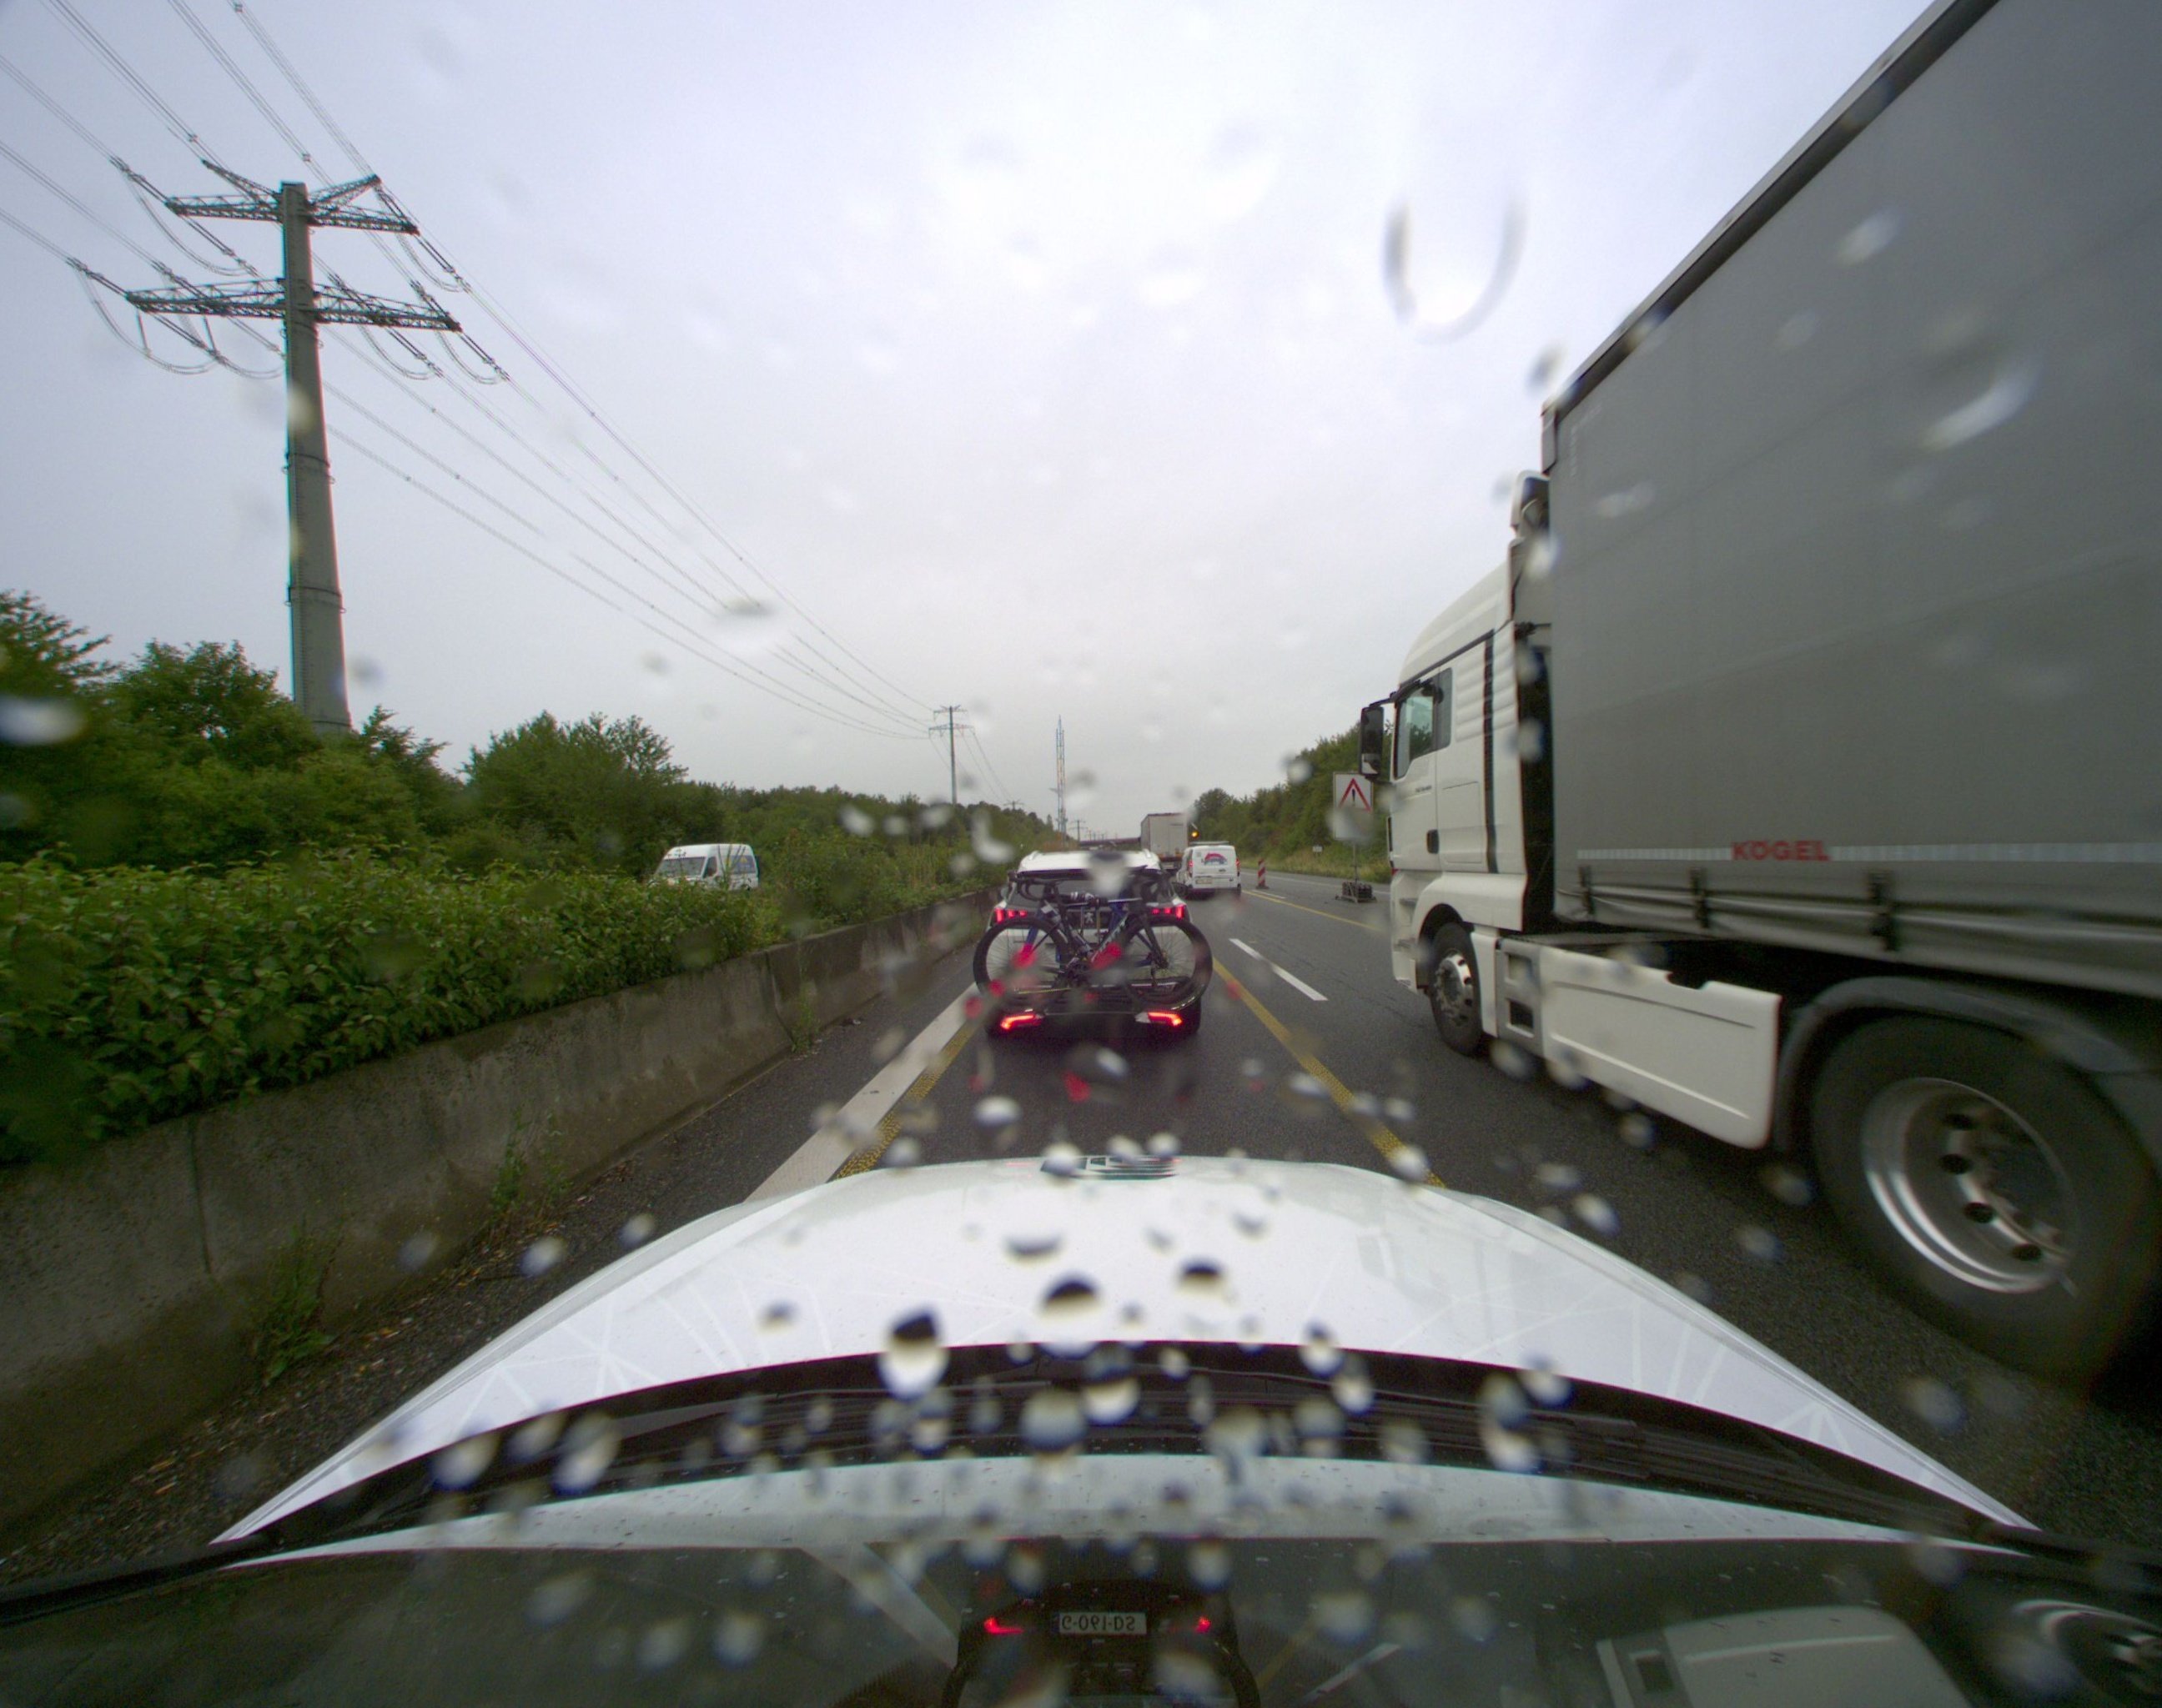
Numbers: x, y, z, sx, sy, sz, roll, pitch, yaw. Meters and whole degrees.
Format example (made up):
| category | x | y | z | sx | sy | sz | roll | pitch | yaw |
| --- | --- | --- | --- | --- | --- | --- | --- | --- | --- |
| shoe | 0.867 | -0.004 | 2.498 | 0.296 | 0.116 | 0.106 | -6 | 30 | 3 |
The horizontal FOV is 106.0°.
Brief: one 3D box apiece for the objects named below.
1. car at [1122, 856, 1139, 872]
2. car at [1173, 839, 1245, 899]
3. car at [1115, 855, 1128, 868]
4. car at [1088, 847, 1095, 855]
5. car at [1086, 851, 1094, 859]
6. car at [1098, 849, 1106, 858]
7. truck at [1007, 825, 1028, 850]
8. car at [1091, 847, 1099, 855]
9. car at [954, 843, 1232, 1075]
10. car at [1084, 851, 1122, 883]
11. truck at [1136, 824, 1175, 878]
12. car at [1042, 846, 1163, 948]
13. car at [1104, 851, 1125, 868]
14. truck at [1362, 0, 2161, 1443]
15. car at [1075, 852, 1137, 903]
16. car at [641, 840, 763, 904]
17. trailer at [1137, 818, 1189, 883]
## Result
| category | x | y | z | sx | sy | sz | roll | pitch | yaw |
| --- | --- | --- | --- | --- | --- | --- | --- | --- | --- |
| car | 6.623 | 1.295 | 108.386 | 2.102 | 1.973 | 4.002 | -1 | 1 | 2 |
| car | 4.267 | 0.478 | 27.847 | 1.822 | 1.839 | 4.657 | -1 | 0 | 2 |
| car | 6.939 | 1.237 | 138.573 | 2.140 | 1.973 | 4.002 | -1 | 1 | 2 |
| car | 2.845 | -0.893 | 220.263 | 1.924 | 1.973 | 4.002 | -1 | 1 | 2 |
| car | 2.629 | 0.283 | 243.061 | 2.249 | 2.424 | 4.002 | -1 | 1 | 2 |
| car | 4.878 | -0.179 | 188.685 | 1.924 | 1.973 | 4.002 | -1 | 1 | 2 |
| truck | -11.307 | -2.893 | 145.763 | 2.776 | 4.023 | 7.235 | -4 | 0 | 1 |
| car | 3.557 | -0.720 | 207.561 | 1.924 | 1.910 | 4.002 | -1 | 1 | 2 |
| car | 0.154 | 0.707 | 7.860 | 1.843 | 1.531 | 4.770 | -1 | 0 | 2 |
| car | 1.157 | 0.645 | 42.292 | 1.843 | 1.531 | 4.002 | -1 | 0 | 2 |
| truck | 5.957 | -0.259 | 65.638 | 2.650 | 4.076 | 6.541 | -1 | 0 | 2 |
| car | 0.397 | 0.666 | 14.539 | 1.843 | 1.531 | 4.002 | -1 | 0 | 2 |
| car | 3.102 | 0.507 | 75.260 | 1.843 | 1.531 | 4.002 | -1 | 0 | 2 |
| truck | 3.950 | -0.668 | 4.815 | 2.696 | 4.138 | 5.693 | -1 | 0 | 2 |
| car | 0.830 | 0.727 | 26.900 | 1.843 | 1.531 | 4.002 | -1 | 0 | 2 |
| car | -14.670 | 0.660 | 31.924 | 2.172 | 2.265 | 5.206 | -1 | 0 | 2 |
| trailer | 5.703 | -0.202 | 58.703 | 2.682 | 4.076 | 13.639 | -1 | 0 | 2 |
